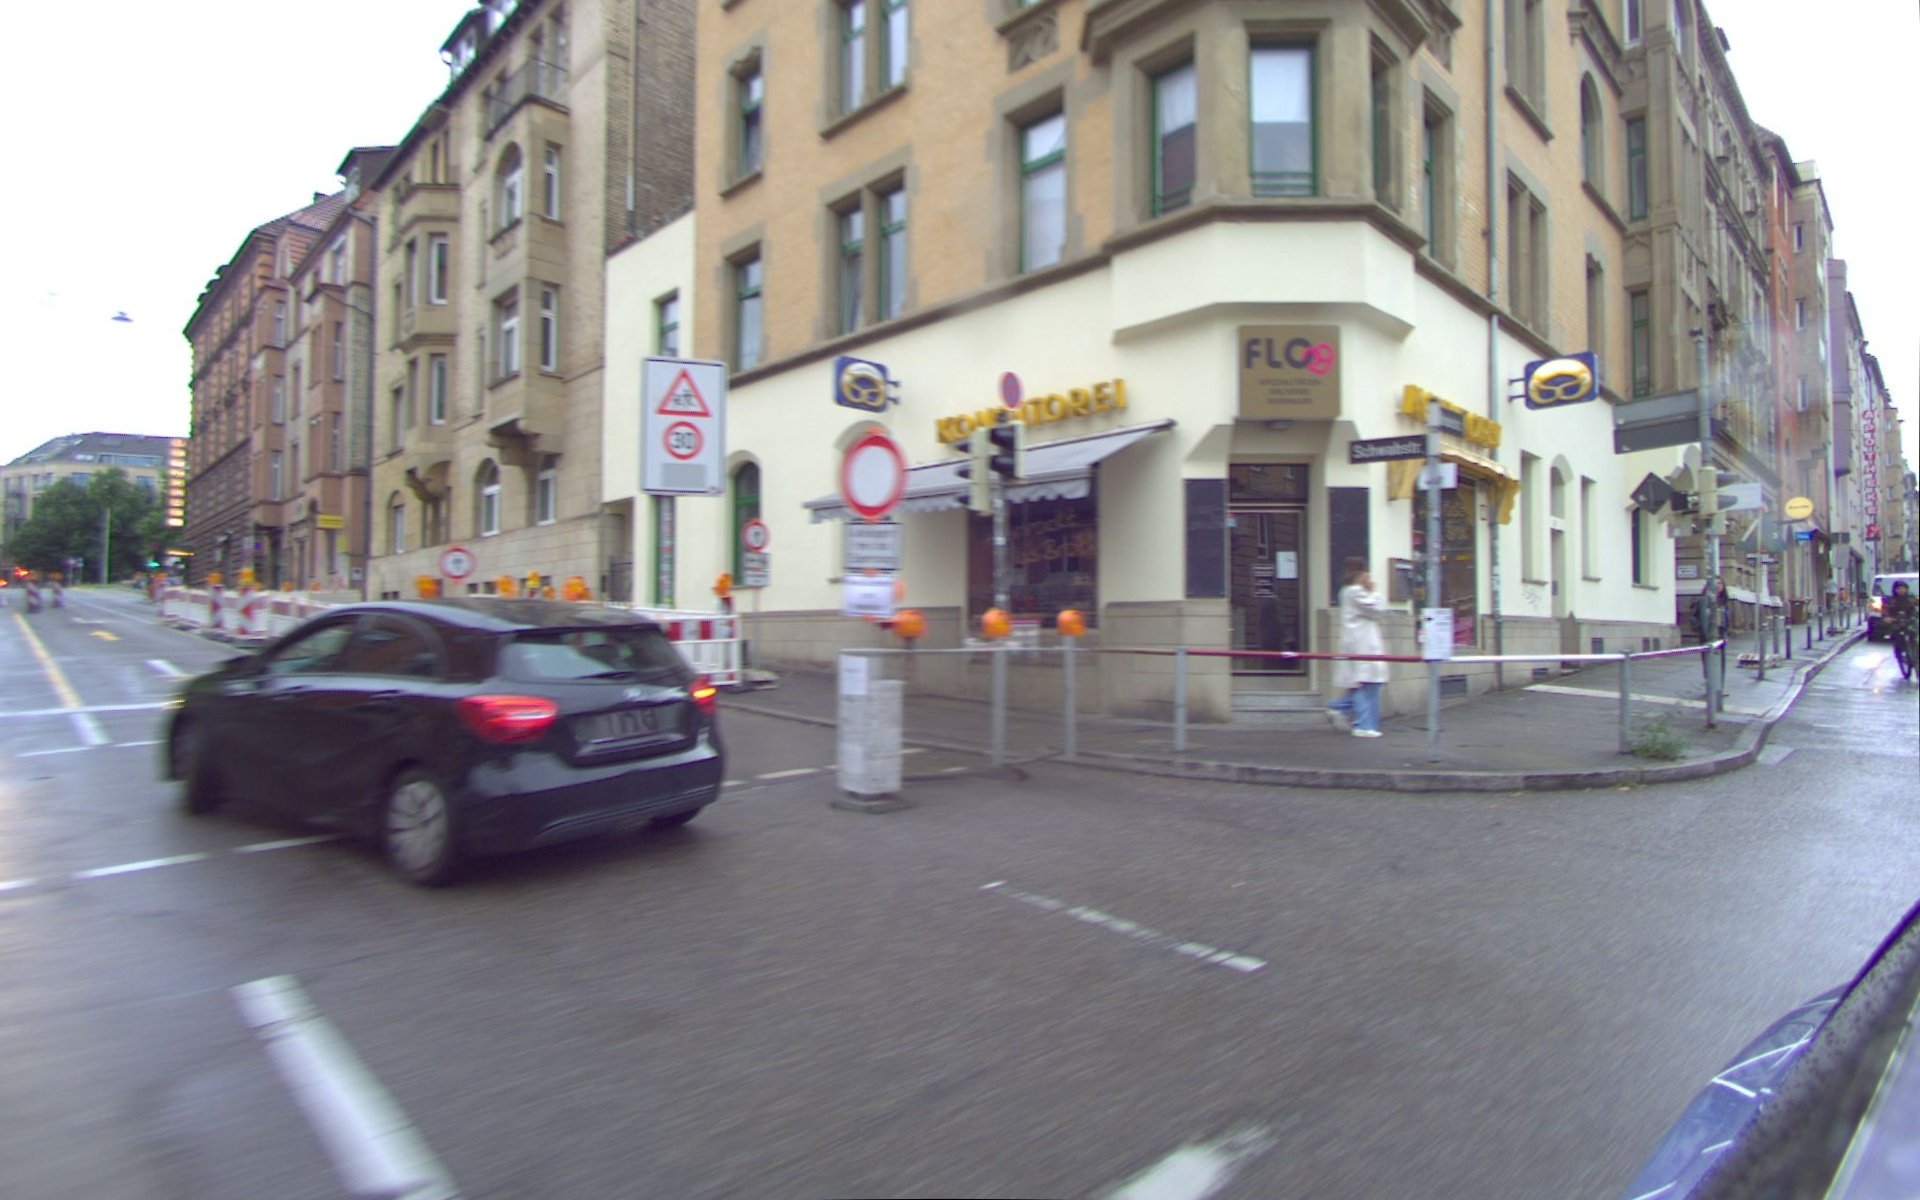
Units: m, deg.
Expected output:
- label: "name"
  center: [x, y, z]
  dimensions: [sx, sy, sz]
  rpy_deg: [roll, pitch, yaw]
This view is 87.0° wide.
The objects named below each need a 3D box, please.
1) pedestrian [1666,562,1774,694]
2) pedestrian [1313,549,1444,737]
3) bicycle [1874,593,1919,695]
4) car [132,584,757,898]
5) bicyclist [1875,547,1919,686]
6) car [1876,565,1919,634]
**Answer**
- label: "pedestrian"
  center: [10.621, 0.355, 14.146]
  dimensions: [0.915, 1.741, 1.018]
  rpy_deg: [-1, 3, -43]
- label: "pedestrian"
  center: [4.070, 0.396, 9.921]
  dimensions: [0.766, 1.726, 0.997]
  rpy_deg: [-2, 0, -3]
- label: "bicycle"
  center: [16.185, 0.684, 17.037]
  dimensions: [3.083, 1.574, 0.935]
  rpy_deg: [-1, 0, -44]
- label: "car"
  center: [-3.364, 0.615, 6.420]
  dimensions: [3.969, 1.392, 1.780]
  rpy_deg: [1, 1, 32]
- label: "bicyclist"
  center: [16.253, 0.258, 17.197]
  dimensions: [1.266, 2.291, 0.919]
  rpy_deg: [-1, 0, -43]
- label: "car"
  center: [28.865, -0.076, 30.164]
  dimensions: [5.891, 1.929, 1.822]
  rpy_deg: [-2, -1, -43]
